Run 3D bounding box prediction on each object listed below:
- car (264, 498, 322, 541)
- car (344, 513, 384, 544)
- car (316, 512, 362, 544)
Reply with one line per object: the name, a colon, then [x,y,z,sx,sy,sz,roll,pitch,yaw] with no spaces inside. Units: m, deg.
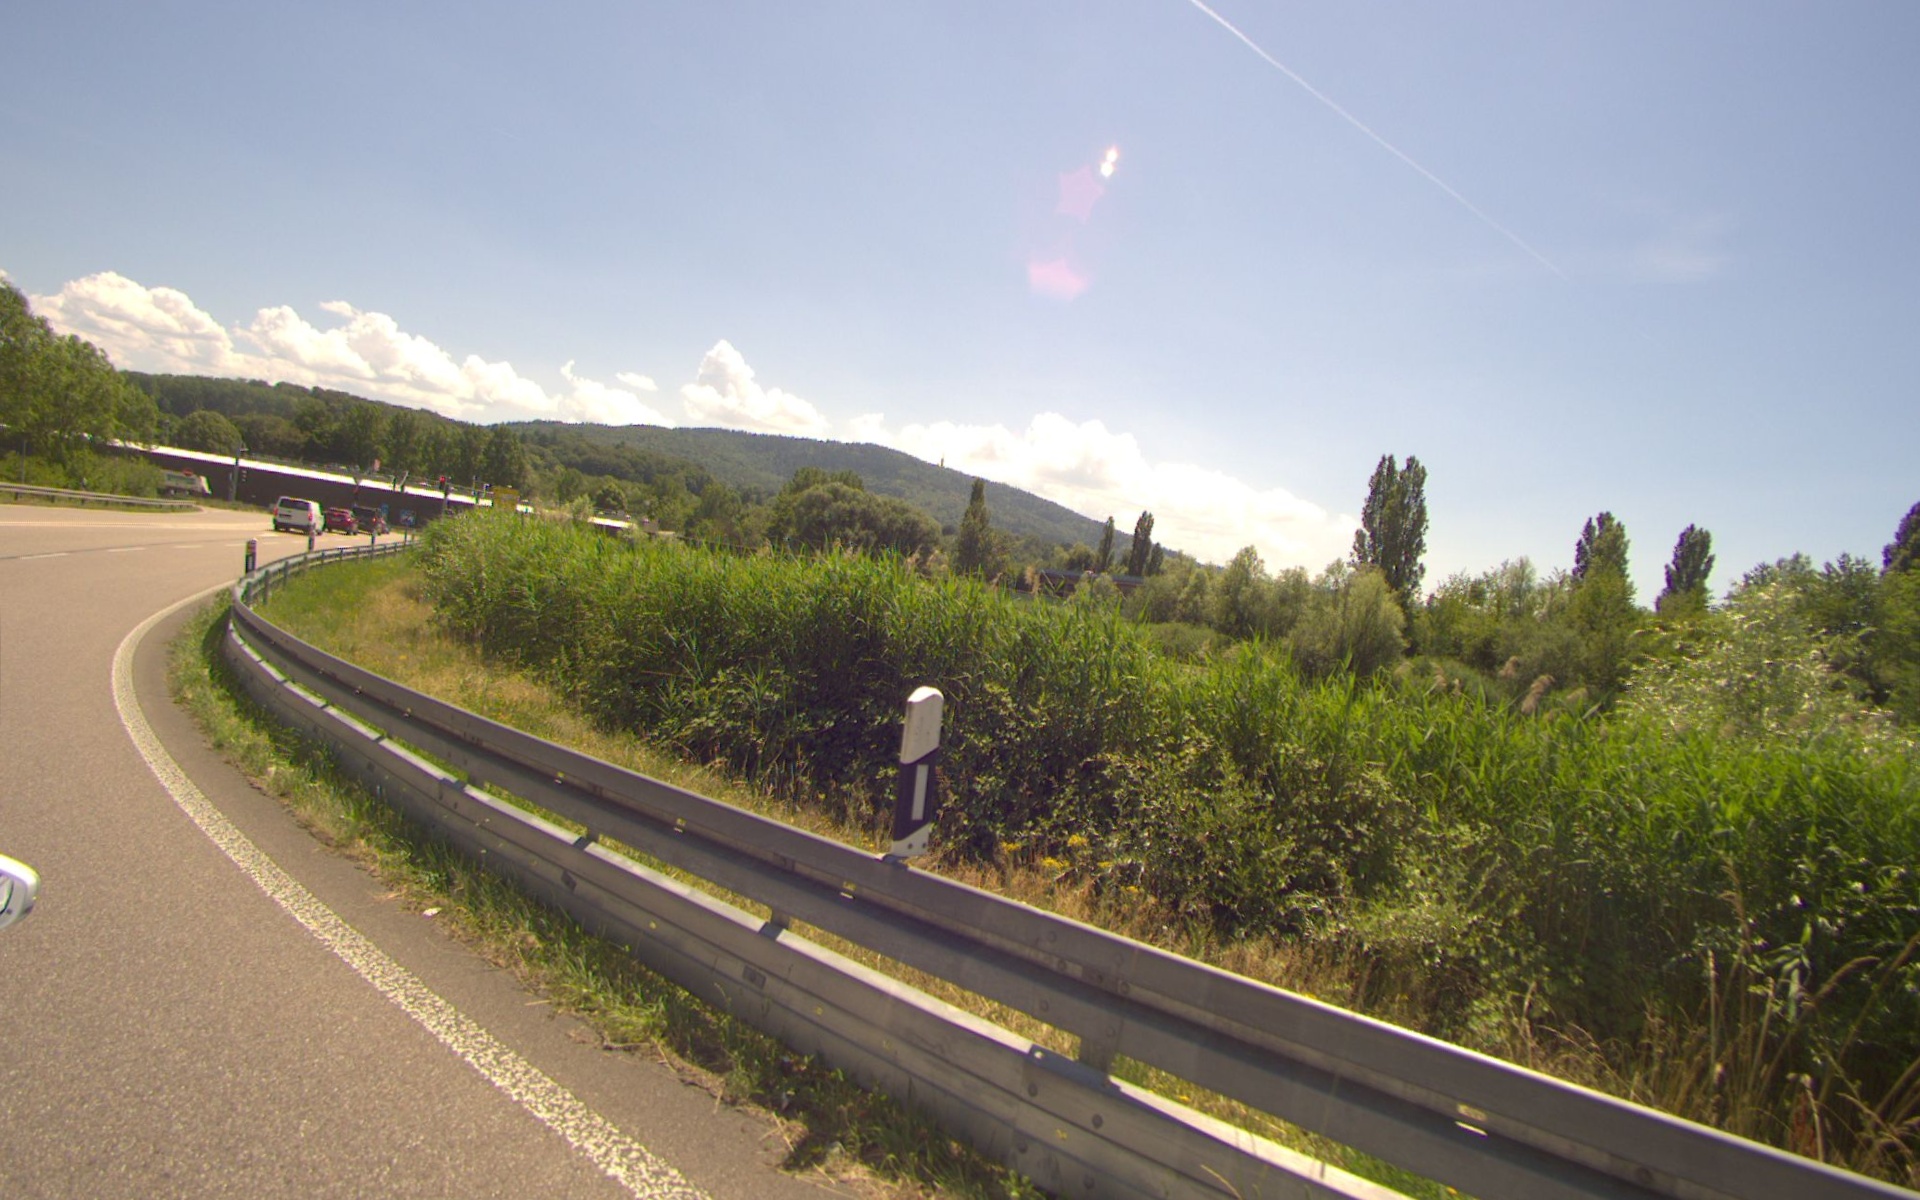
car: [-37.548,-4.490,56.712,1.853,1.988,3.976,9,0,-24]
car: [-45.823,-5.482,77.423,1.974,2.038,3.976,6,1,-24]
car: [-42.403,-4.866,68.744,1.974,1.835,3.976,6,0,-24]
